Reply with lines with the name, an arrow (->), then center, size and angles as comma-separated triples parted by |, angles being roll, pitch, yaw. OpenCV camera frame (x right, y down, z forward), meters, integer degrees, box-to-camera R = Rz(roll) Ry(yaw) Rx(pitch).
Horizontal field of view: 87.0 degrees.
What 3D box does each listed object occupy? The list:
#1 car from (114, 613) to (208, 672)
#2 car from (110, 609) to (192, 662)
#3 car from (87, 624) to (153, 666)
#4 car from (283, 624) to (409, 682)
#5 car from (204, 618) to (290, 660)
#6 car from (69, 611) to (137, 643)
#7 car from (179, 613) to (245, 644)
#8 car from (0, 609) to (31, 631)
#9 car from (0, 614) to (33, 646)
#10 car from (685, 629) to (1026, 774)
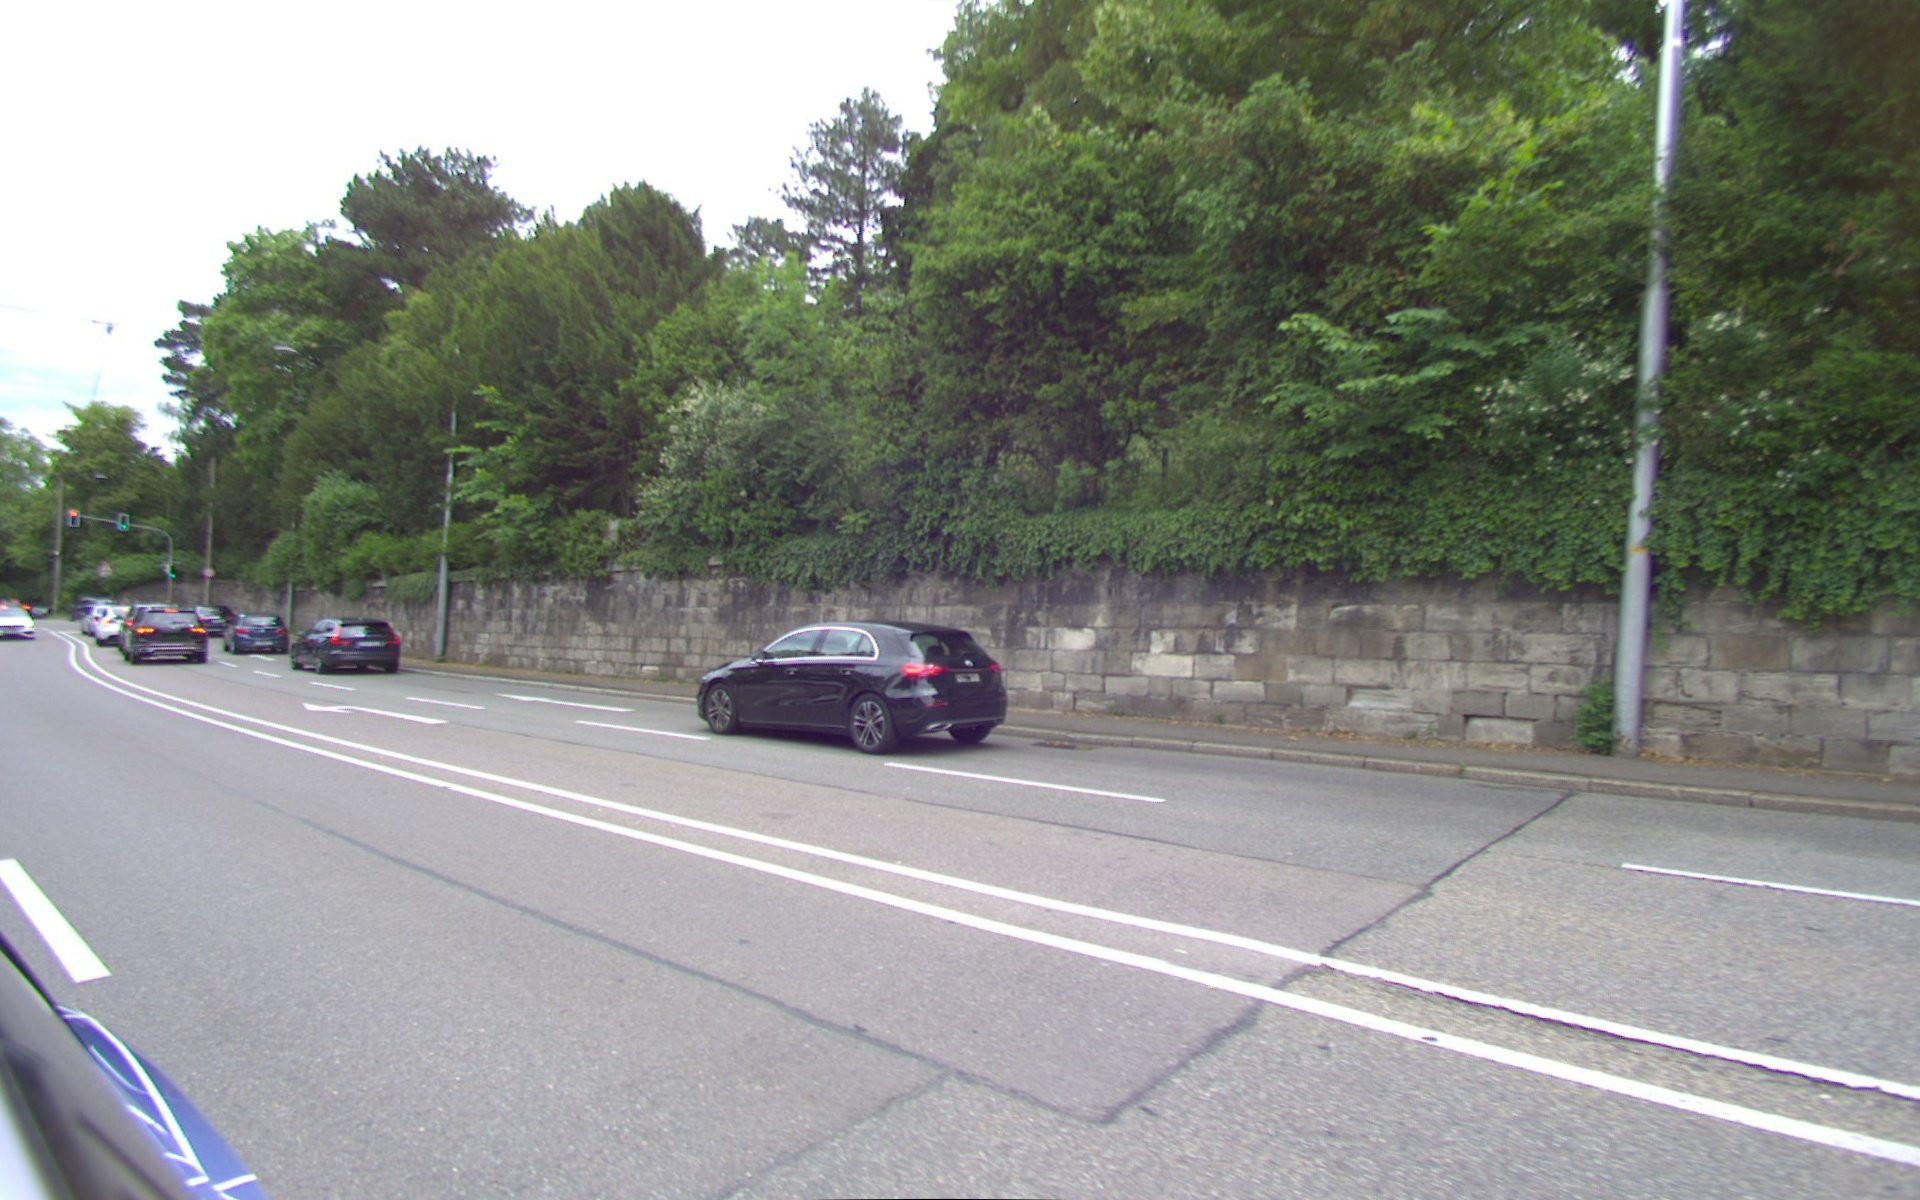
car -> -24.401, 1.251, 30.846 | 1.826, 1.664, 4.628 | 3, -2, -43
car -> -29.234, 1.234, 36.516 | 1.936, 1.763, 4.883 | 2, -2, -43
car -> -34.668, 1.797, 41.714 | 1.815, 1.566, 4.793 | 0, -1, -43
car -> -16.492, 1.369, 27.086 | 4.457, 1.420, 1.822 | -1, -3, 45
car -> -26.168, 1.441, 37.080 | 4.001, 1.447, 1.822 | -2, -4, 44
car -> -41.966, 1.309, 49.536 | 4.879, 1.481, 1.971 | -1, -2, 43
car -> -35.970, 1.359, 48.628 | 1.979, 1.420, 4.759 | 2, -2, -44
car -> -65.508, 1.376, 69.228 | 3.939, 1.445, 1.621 | -1, 0, 27
car -> -42.948, 1.343, 45.423 | 1.776, 1.401, 3.533 | 1, -2, -40
car -> -1.376, 1.064, 11.982 | 4.252, 1.413, 1.545 | -1, -3, 42
